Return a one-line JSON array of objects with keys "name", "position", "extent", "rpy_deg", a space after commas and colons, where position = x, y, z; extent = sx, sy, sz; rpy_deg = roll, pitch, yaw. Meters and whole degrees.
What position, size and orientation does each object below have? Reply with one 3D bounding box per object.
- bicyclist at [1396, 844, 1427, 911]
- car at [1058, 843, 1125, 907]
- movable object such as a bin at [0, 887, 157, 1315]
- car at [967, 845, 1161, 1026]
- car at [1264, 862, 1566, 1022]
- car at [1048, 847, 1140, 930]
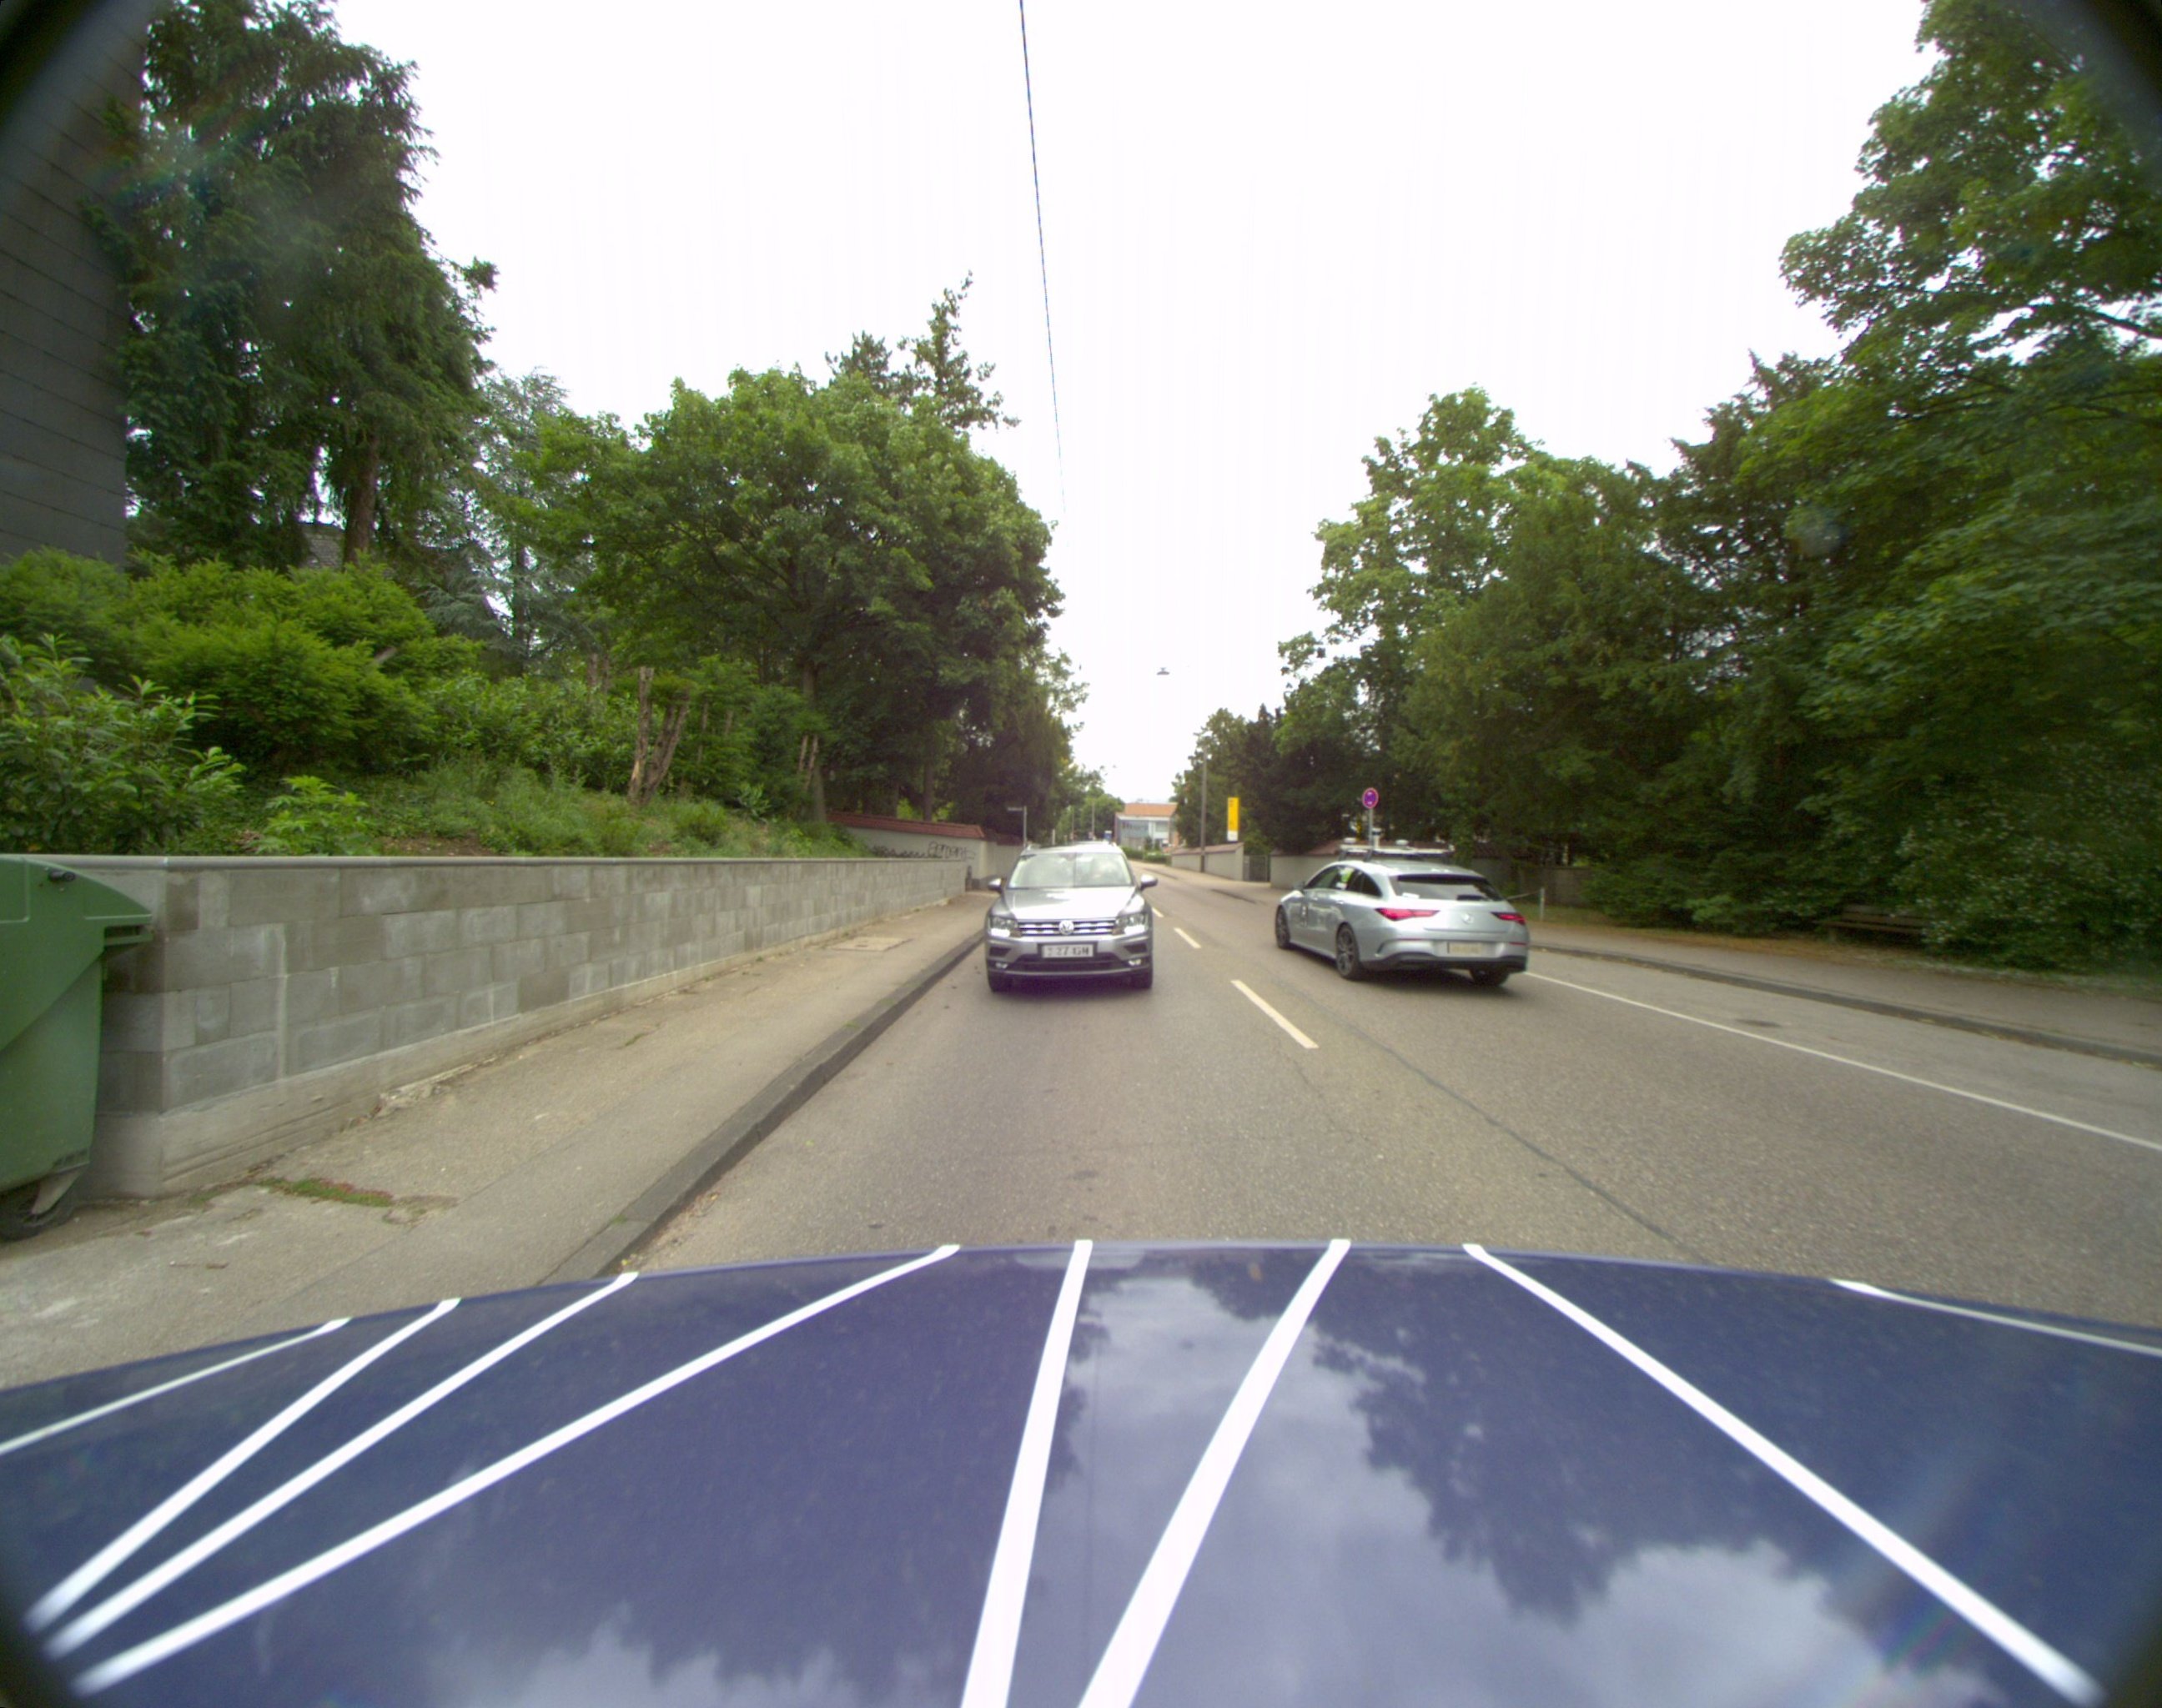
[{"name": "bicyclist", "position": [8.469, 0.601, 19.491], "extent": [0.489, 1.674, 0.588], "rpy_deg": [-3, 1, 1]}, {"name": "car", "position": [0.305, 0.552, 23.259], "extent": [1.820, 1.733, 4.487], "rpy_deg": [0, 1, 0]}, {"name": "movable object such as a bin", "position": [-4.407, 0.859, 2.475], "extent": [1.407, 1.443, 1.116], "rpy_deg": [0, 1, 1]}, {"name": "car", "position": [-0.146, 0.761, 9.647], "extent": [1.820, 1.690, 4.718], "rpy_deg": [-2, 1, 0]}, {"name": "car", "position": [3.830, 0.897, 9.699], "extent": [1.761, 1.395, 4.413], "rpy_deg": [2, 1, -2]}, {"name": "car", "position": [0.283, 0.666, 17.425], "extent": [1.820, 1.647, 4.487], "rpy_deg": [0, 1, 0]}]
